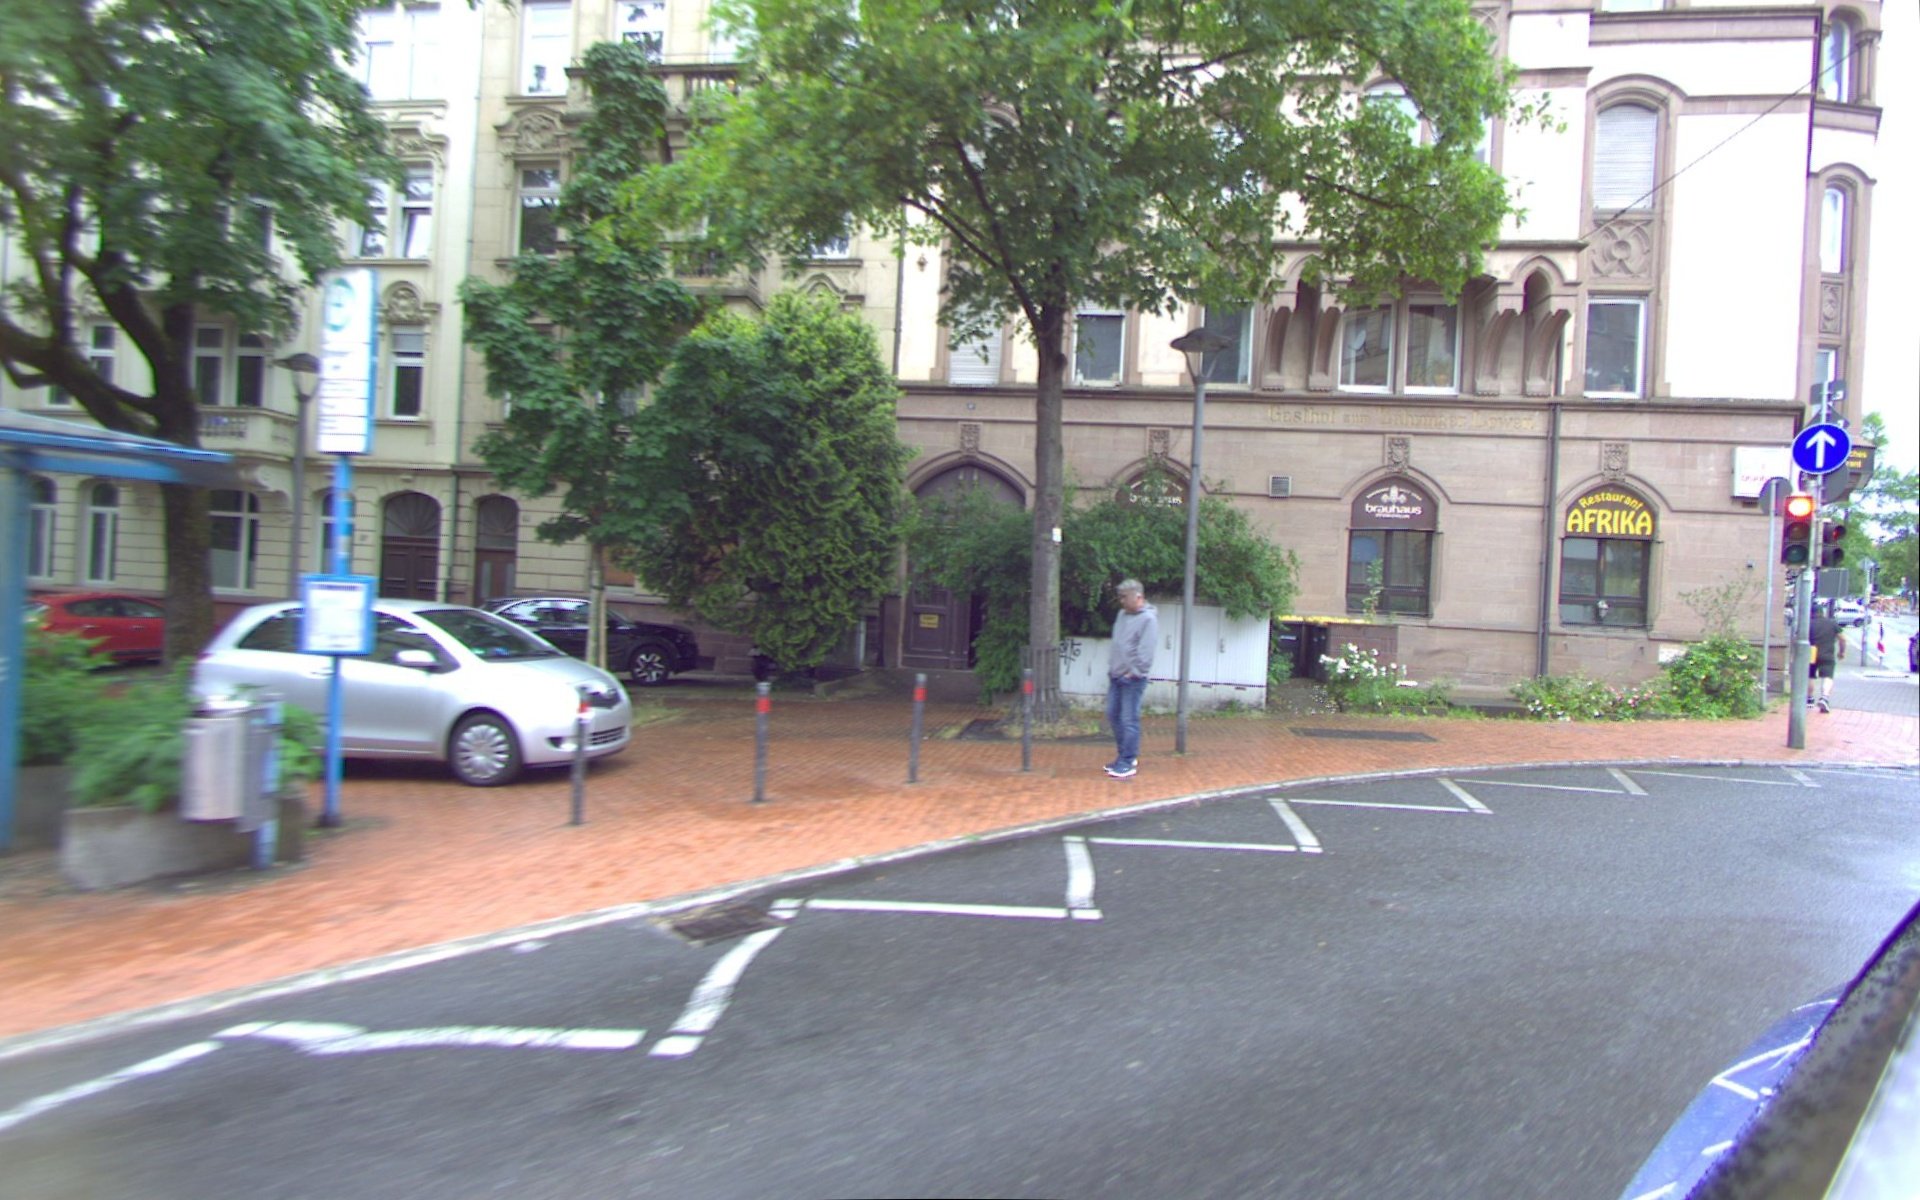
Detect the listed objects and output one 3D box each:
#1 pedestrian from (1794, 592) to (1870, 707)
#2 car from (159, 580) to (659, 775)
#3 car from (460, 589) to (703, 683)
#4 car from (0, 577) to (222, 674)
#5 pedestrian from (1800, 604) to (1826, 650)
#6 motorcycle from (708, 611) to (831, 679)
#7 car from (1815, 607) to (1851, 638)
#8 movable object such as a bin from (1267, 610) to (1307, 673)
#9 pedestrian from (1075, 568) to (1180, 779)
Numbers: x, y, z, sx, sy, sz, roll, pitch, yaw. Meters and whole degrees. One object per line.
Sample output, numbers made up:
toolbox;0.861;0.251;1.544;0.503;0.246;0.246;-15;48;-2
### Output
pedestrian;13.468;0.738;15.630;0.828;1.700;0.880;-1;-1;43
car;-4.781;0.671;9.073;3.612;1.522;1.766;-1;-2;8
car;-6.495;0.587;17.620;3.769;1.495;1.775;0;-1;-20
car;-16.576;0.384;19.234;1.845;1.546;3.992;0;3;9
pedestrian;37.459;1.178;44.455;1.071;1.974;0.699;0;0;-41
motorcycle;-3.482;0.803;18.513;2.153;1.204;0.555;0;-1;-19
car;55.412;1.415;64.288;1.521;1.637;3.445;6;6;39
movable object such as a bin;5.702;0.714;17.660;0.549;1.078;0.541;0;-1;6
pedestrian;1.445;0.610;8.797;0.716;1.756;0.574;0;-1;-15
